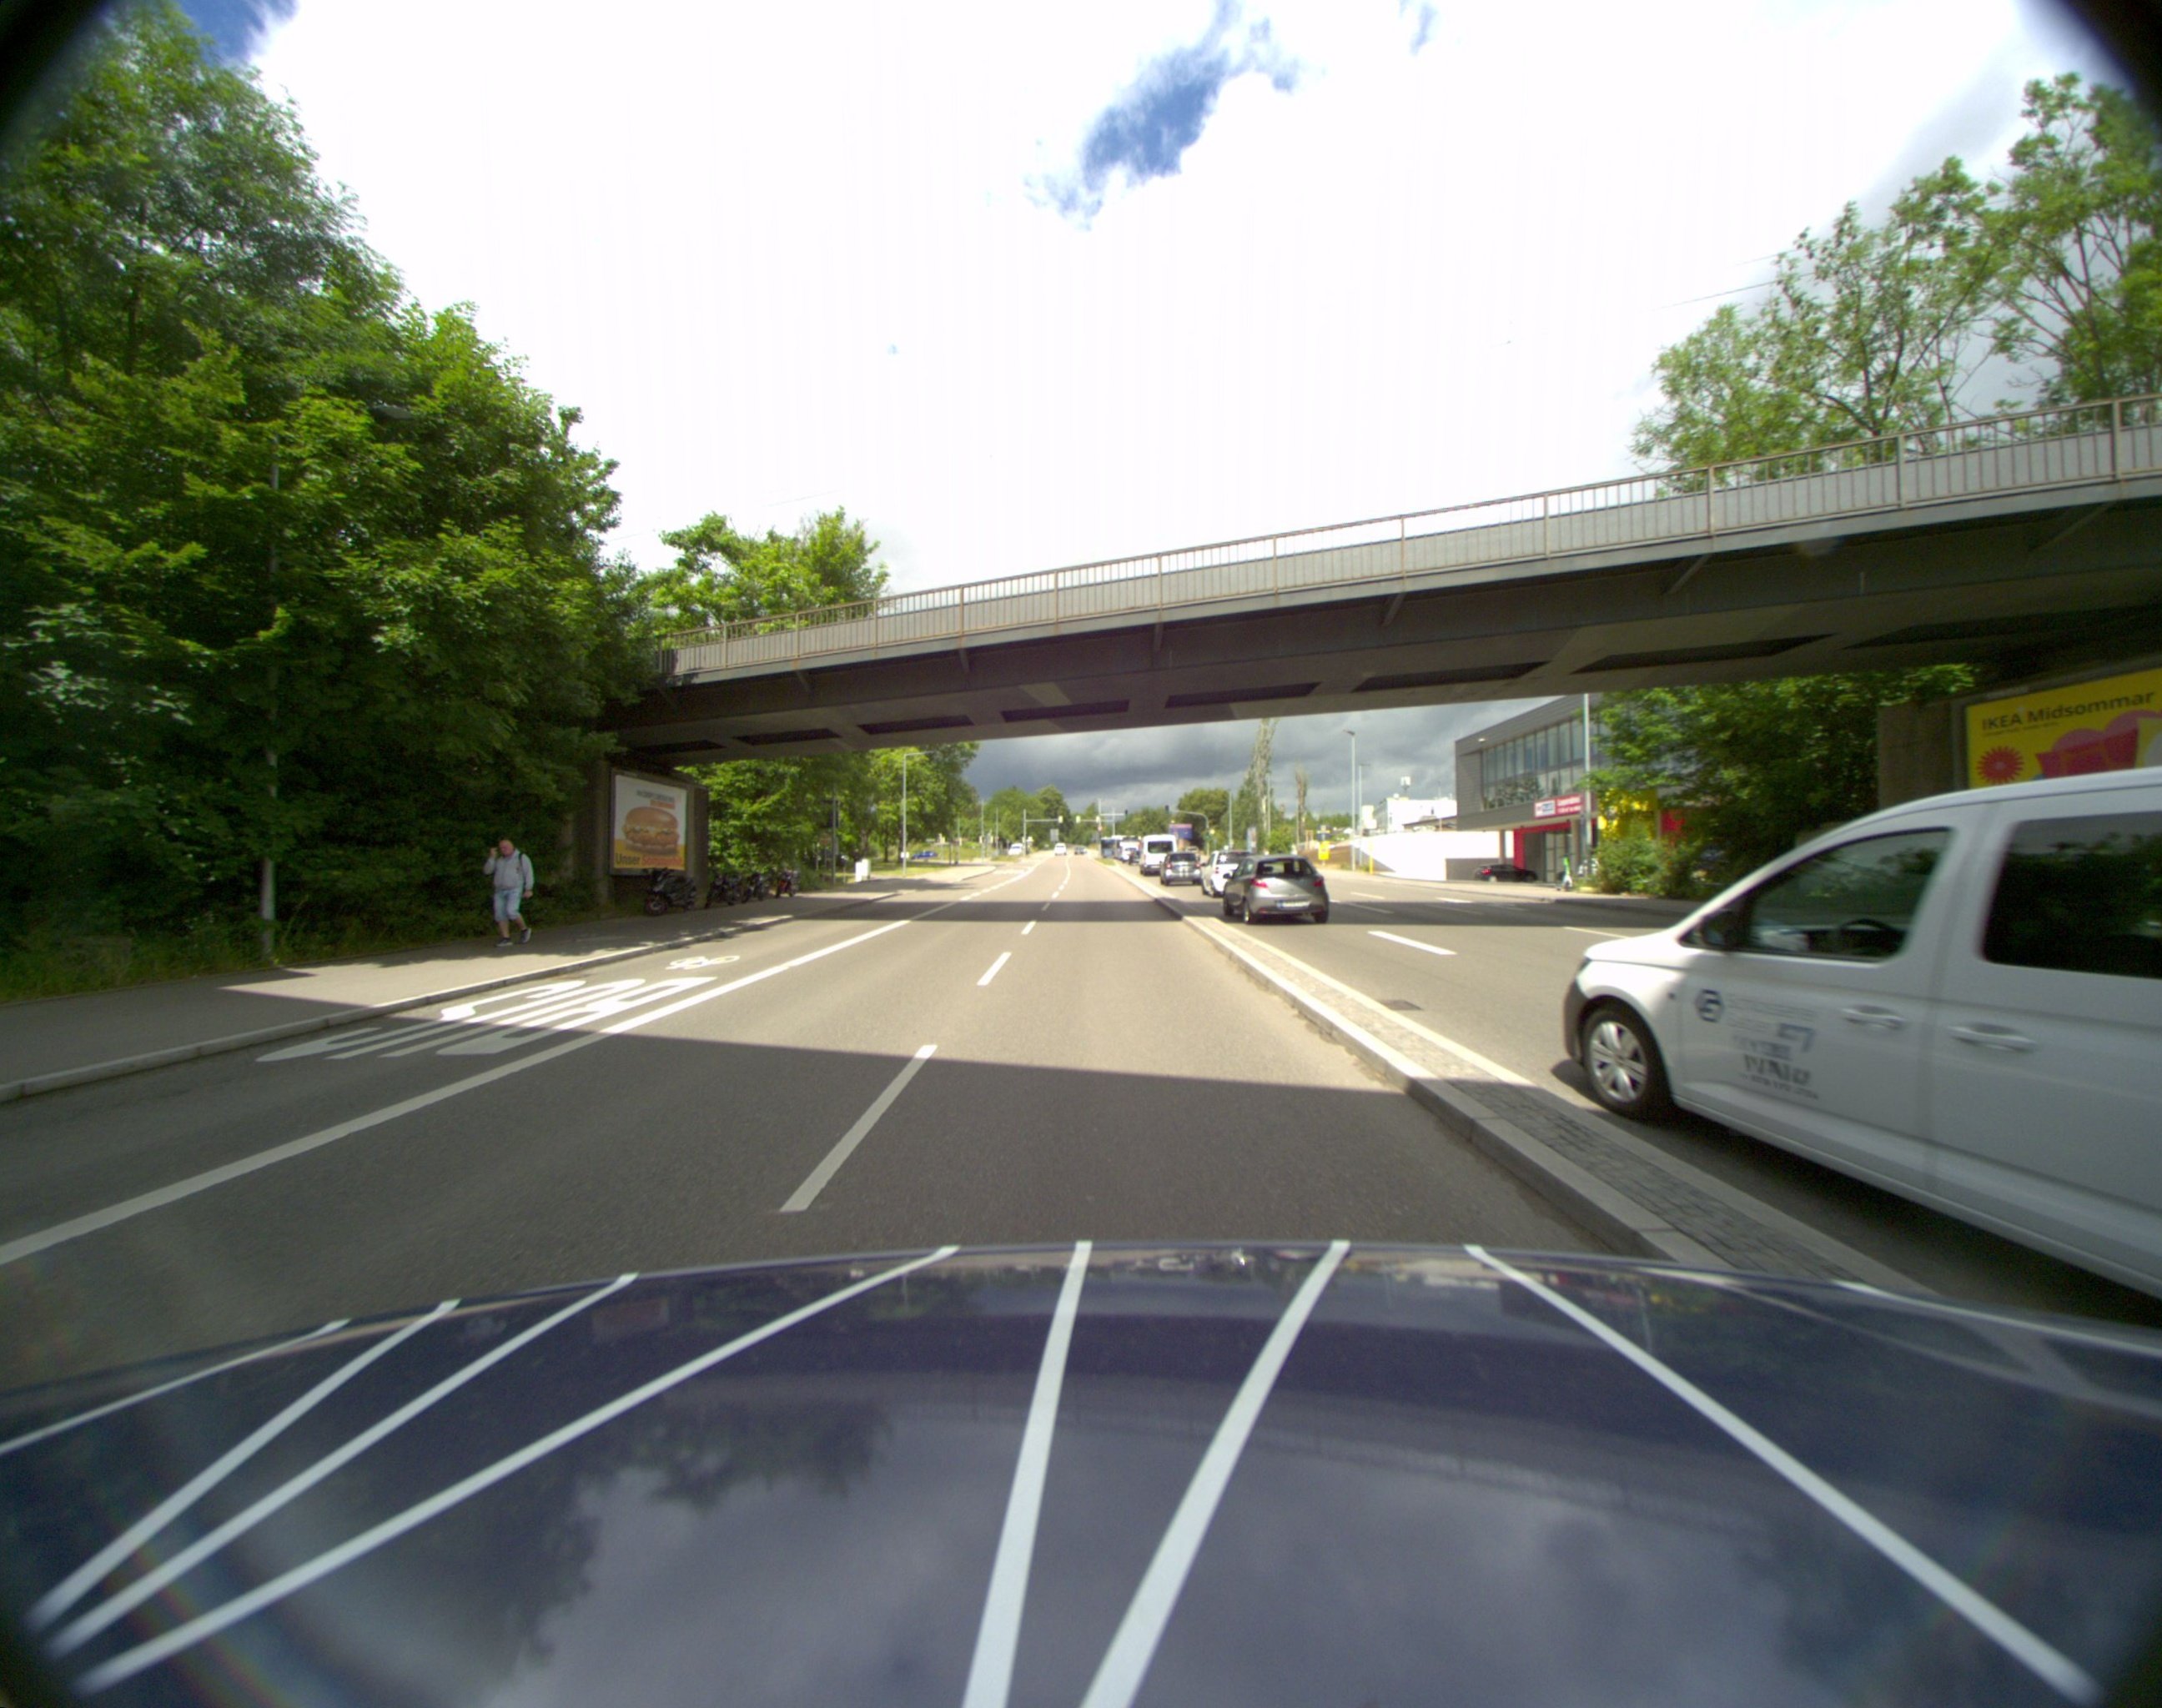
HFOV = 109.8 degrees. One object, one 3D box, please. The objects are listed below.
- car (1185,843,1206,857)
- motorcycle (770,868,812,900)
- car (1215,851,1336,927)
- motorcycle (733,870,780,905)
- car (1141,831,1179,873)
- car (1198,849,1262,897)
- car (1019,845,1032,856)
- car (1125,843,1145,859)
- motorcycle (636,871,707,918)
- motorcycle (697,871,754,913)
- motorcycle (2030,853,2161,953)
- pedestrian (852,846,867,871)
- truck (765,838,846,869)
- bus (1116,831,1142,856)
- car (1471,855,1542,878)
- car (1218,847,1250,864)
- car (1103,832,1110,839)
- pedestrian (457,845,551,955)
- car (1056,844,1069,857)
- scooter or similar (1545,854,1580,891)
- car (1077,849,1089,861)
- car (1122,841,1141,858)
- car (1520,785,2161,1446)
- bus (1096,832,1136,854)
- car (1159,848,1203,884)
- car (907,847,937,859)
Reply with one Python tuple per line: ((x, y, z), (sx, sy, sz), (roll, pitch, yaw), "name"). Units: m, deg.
((12.898, -0.428, 85.657), (1.998, 1.478, 4.000), (0, 0, 3), "car")
((-10.578, 1.065, 27.783), (0.679, 1.076, 2.180), (0, 0, 0), "motorcycle")
((4.211, 0.691, 17.059), (1.713, 1.480, 3.984), (-1, 1, 1), "car")
((-10.711, 1.083, 25.158), (0.679, 1.076, 2.038), (0, 0, 0), "motorcycle")
((4.912, -0.131, 48.086), (2.045, 2.458, 5.573), (-2, 0, 3), "car")
((5.007, 0.604, 25.864), (1.509, 1.480, 3.115), (-1, 1, -1), "car")
((-9.052, -0.596, 124.728), (1.999, 1.888, 4.081), (0, 1, -3), "car")
((5.328, -0.297, 75.657), (1.640, 1.582, 4.255), (-2, 0, 0), "car")
((-10.942, 1.056, 20.399), (0.679, 1.148, 2.113), (0, 0, 2), "motorcycle")
((-10.636, 1.103, 22.804), (0.679, 1.137, 2.160), (0, 0, 0), "motorcycle")
((13.765, 0.622, 9.630), (0.641, 1.191, 2.257), (-3, 1, 1), "motorcycle")
((-16.173, 0.348, 55.546), (0.952, 1.802, 0.717), (0, 1, -22), "pedestrian")
((-38.039, -0.011, 105.164), (10.080, 3.981, 2.788), (-2, 0, -2), "truck")
((6.154, -1.375, 98.579), (2.650, 2.929, 8.536), (-2, 1, 0), "bus")
((30.755, 0.879, 54.993), (3.997, 1.608, 1.959), (0, 1, 0), "car")
((12.439, 0.105, 62.105), (1.998, 1.346, 4.000), (0, 0, 3), "car")
((7.942, -5.686, 236.323), (1.998, 2.002, 4.000), (-2, 0, 2), "car")
((-10.264, 0.788, 13.561), (0.791, 1.877, 1.097), (0, 1, 1), "pedestrian")
((-3.322, -0.574, 135.746), (1.999, 2.267, 3.998), (-1, 0, -4), "car")
((14.852, 0.549, 23.470), (0.477, 1.114, 1.385), (0, 1, 13), "scooter or similar")
((0.365, 0.220, 136.720), (1.998, 2.002, 4.000), (-2, 0, 1), "car")
((5.625, -0.487, 85.359), (1.827, 1.796, 4.255), (-2, 0, 0), "car")
((3.794, 0.683, 2.552), (1.812, 1.770, 4.978), (-1, 0, 1), "car")
((4.829, -1.512, 106.965), (2.653, 2.919, 9.773), (-3, 1, -16), "bus")
((4.471, 0.512, 34.309), (1.572, 1.522, 2.738), (-1, 0, 0), "car")
((-24.154, -0.199, 115.455), (4.079, 1.735, 2.000), (0, 1, 0), "car")
